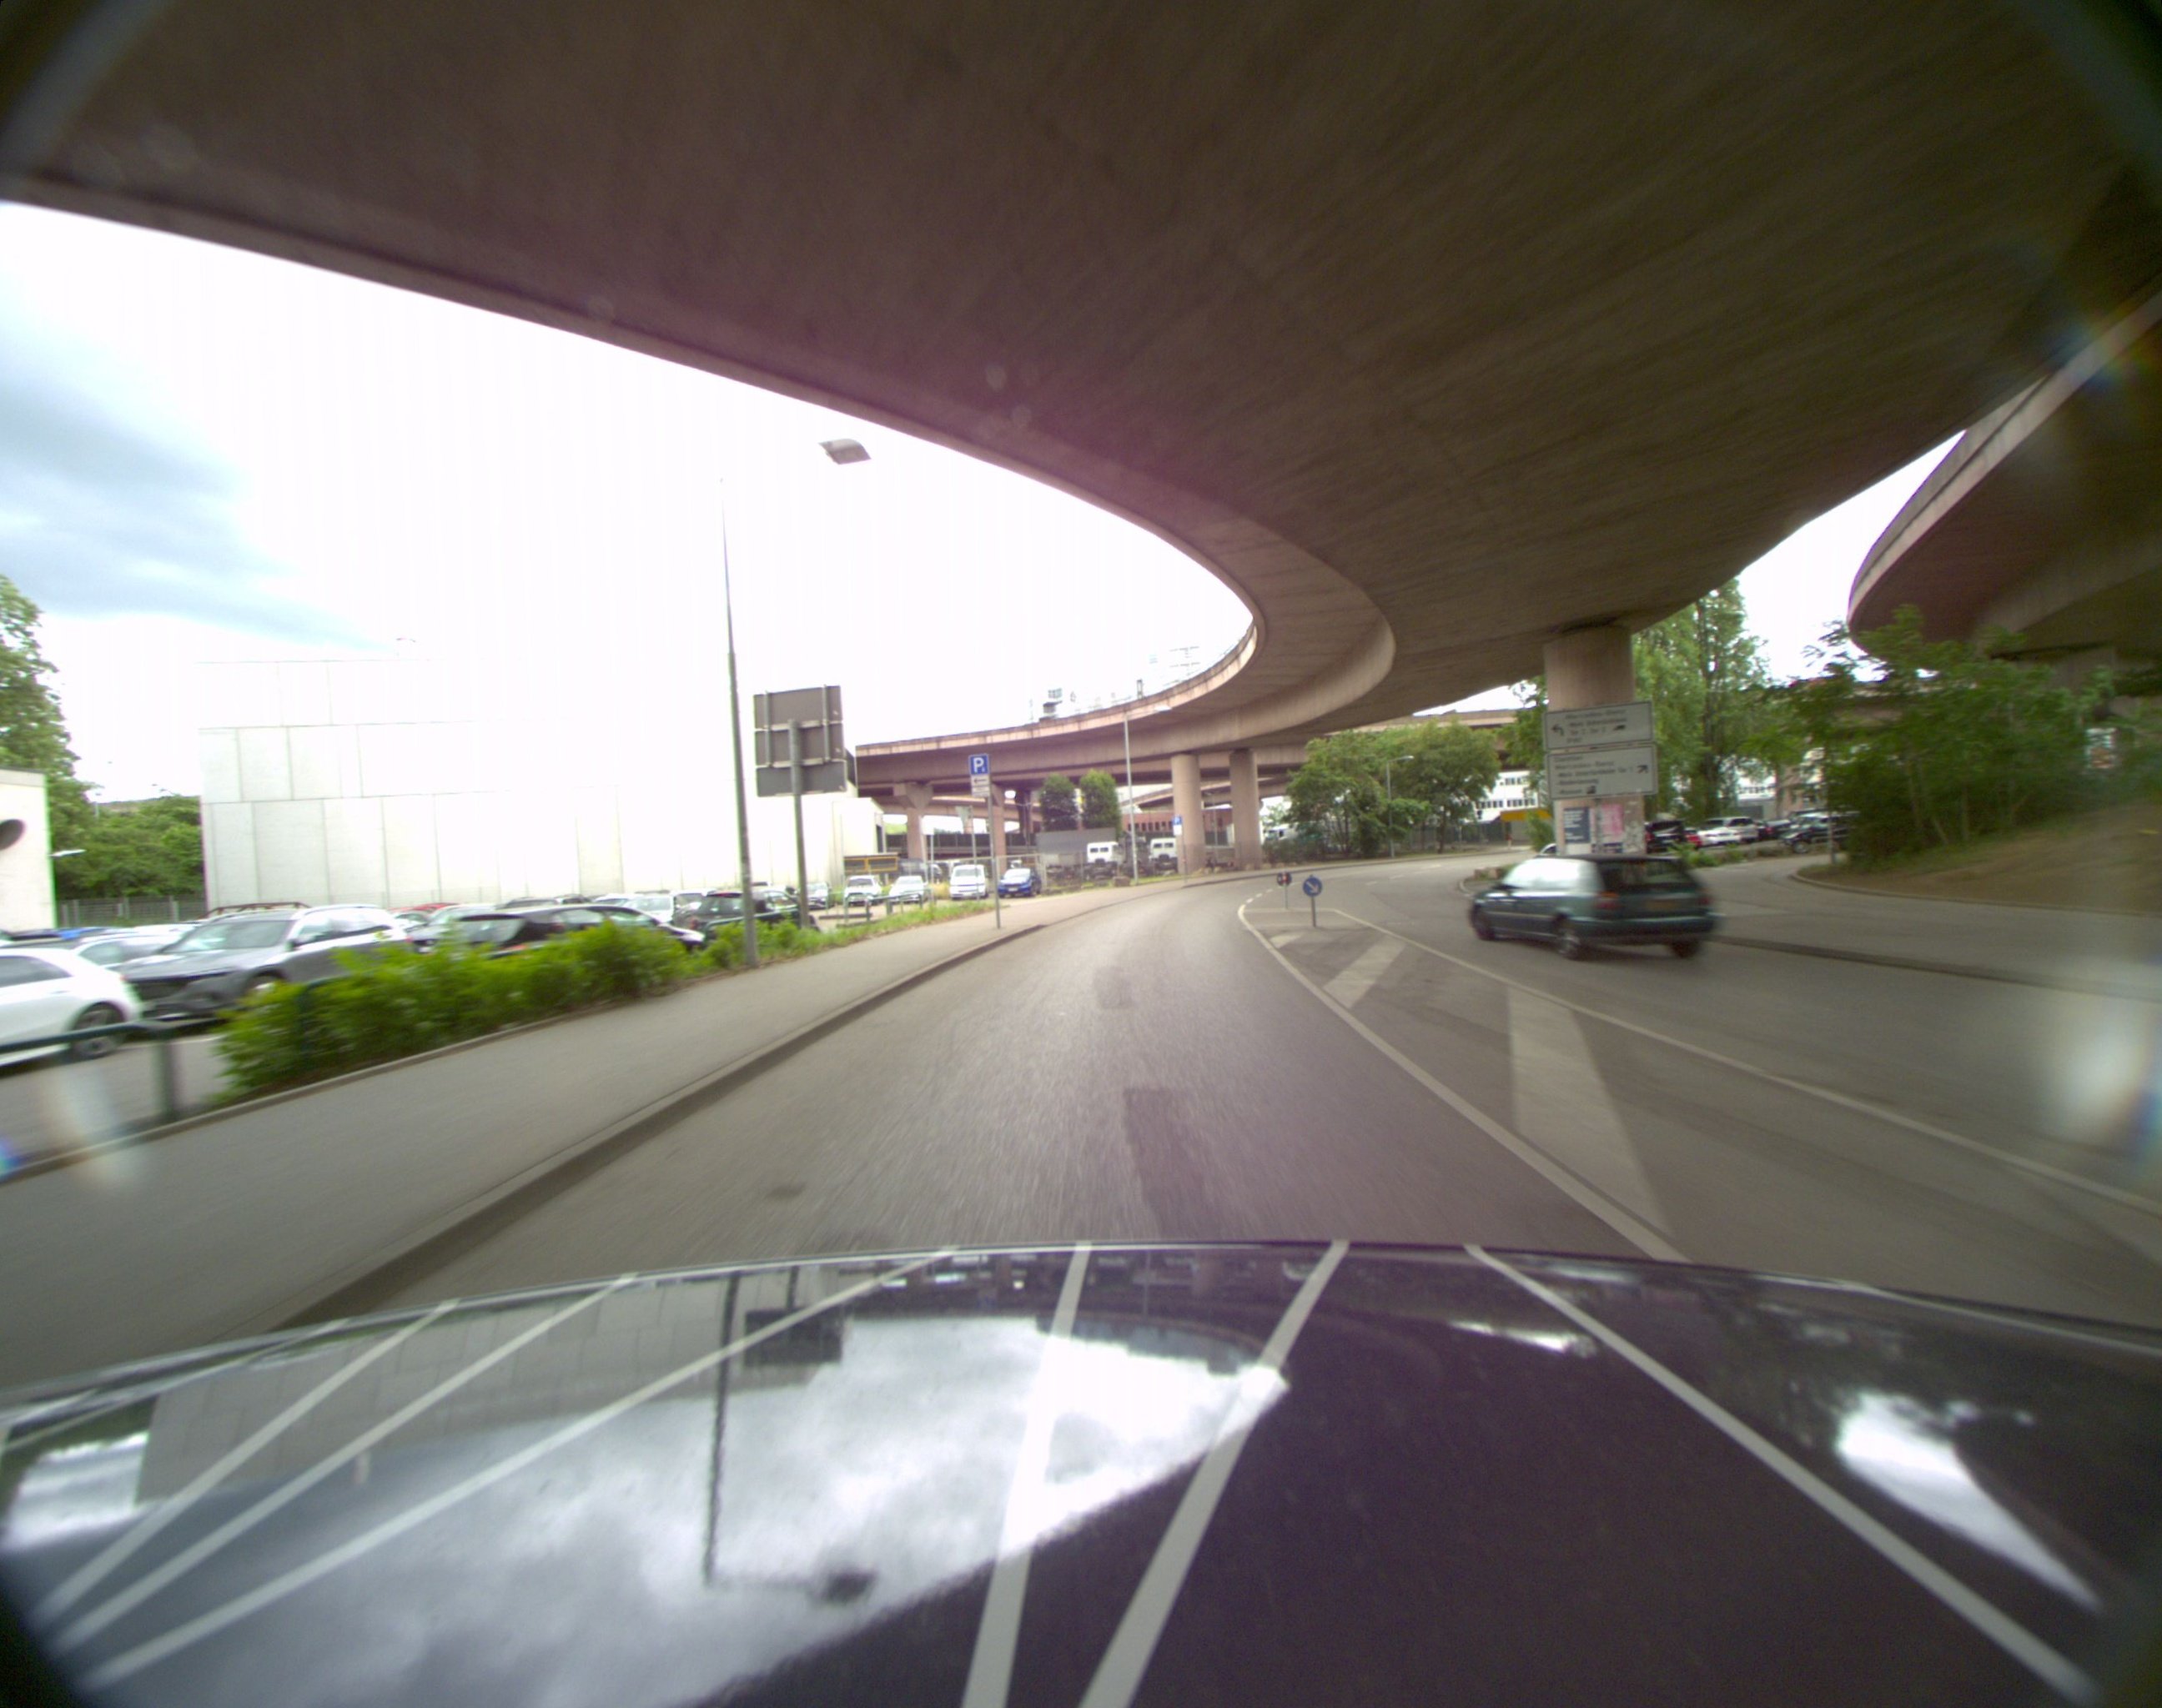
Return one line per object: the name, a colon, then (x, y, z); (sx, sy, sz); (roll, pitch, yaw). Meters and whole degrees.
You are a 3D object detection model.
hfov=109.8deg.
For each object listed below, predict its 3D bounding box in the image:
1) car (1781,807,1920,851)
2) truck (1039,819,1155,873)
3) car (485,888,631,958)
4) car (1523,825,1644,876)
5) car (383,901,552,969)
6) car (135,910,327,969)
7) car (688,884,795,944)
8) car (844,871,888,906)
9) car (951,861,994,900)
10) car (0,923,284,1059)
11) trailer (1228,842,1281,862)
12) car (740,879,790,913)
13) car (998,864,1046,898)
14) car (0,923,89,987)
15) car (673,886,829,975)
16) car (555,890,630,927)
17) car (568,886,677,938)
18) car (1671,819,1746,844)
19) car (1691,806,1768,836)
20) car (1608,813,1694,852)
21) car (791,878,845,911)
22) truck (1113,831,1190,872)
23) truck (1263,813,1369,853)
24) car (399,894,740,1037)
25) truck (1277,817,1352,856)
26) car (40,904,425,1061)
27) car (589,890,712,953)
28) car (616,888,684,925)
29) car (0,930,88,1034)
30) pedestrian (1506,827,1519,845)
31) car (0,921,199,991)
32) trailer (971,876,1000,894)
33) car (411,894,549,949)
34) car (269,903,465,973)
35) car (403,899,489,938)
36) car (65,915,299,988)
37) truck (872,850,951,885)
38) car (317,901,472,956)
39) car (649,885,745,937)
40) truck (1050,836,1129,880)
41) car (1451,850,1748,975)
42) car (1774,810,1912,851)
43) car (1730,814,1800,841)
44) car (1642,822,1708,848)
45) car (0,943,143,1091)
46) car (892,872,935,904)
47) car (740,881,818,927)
car: (34.558, -1.112, 34.244); (4.055, 1.697, 1.737); (-3, 1, 16)
truck: (1.433, -0.722, 71.341); (10.136, 4.340, 3.911); (-3, 0, -10)
car: (-15.401, 1.959, 22.718); (1.859, 1.618, 4.616); (-3, 0, -12)
car: (17.689, -0.152, 26.680); (4.781, 1.422, 1.824); (-4, -2, -35)
car: (-17.624, 2.249, 22.168); (1.859, 1.435, 4.616); (-3, 0, -12)
car: (-28.161, 2.772, 25.445); (1.839, 1.417, 4.438); (-3, 0, -10)
car: (-10.526, 1.787, 23.932); (1.858, 1.466, 4.683); (-3, 0, -10)
car: (-11.392, 1.799, 40.556); (1.776, 1.578, 4.357); (-3, 0, -10)
car: (-6.074, 1.439, 43.087); (1.893, 1.945, 4.678); (-3, 0, -3)
car: (-15.454, 2.041, 11.945); (1.757, 1.440, 4.454); (-3, 0, -12)
trailer: (13.919, -0.167, 60.991); (4.389, 1.324, 1.601); (-4, 2, -36)
car: (-16.257, 2.126, 39.213); (1.623, 1.535, 3.095); (-3, 0, -9)
car: (-3.272, 1.477, 43.127); (1.773, 1.625, 4.687); (-3, 0, 7)
car: (-29.116, 2.768, 19.774); (1.769, 1.524, 3.972); (-3, 0, -12)
car: (-6.653, 1.495, 15.597); (1.542, 1.471, 2.763); (-3, 0, 11)
car: (-23.773, 2.625, 37.157); (1.776, 1.448, 4.355); (-3, 0, -15)
car: (-16.801, 2.065, 28.138); (1.839, 1.504, 4.497); (-3, 0, -10)
car: (37.158, -1.336, 45.143); (1.693, 1.356, 4.520); (-3, 1, 15)
car: (40.691, -2.037, 47.823); (1.693, 1.664, 4.681); (-3, 1, 13)
car: (30.903, -1.169, 41.384); (1.854, 1.906, 4.977); (-3, 1, 13)
car: (-13.394, 2.027, 38.945); (1.775, 1.375, 4.358); (-3, 0, -9)
truck: (5.394, -0.221, 56.733); (2.418, 2.728, 7.249); (-3, 0, 33)
truck: (23.868, -2.166, 77.267); (10.215, 3.478, 2.268); (-3, 2, -9)
car: (-7.379, 1.520, 11.603); (1.733, 1.470, 4.253); (-3, 0, 11)
truck: (22.698, -1.714, 73.982); (6.411, 3.389, 2.269); (-3, 2, -6)
car: (-12.965, 1.817, 12.151); (1.746, 1.665, 4.465); (-3, 0, -12)
car: (-12.990, 1.972, 23.288); (1.859, 1.466, 4.682); (-3, 0, -12)
car: (-21.054, 2.538, 37.283); (1.776, 1.448, 4.355); (-3, 0, -15)
car: (-17.834, 2.121, 11.093); (1.757, 1.548, 4.083); (-3, 0, -12)
pedestrian: (41.599, -1.700, 73.299); (0.856, 1.671, 0.752); (-4, 2, -32)
car: (-27.167, 2.740, 20.838); (1.769, 1.384, 3.972); (-3, 0, -12)
trailer: (-6.175, 1.980, 48.978); (1.484, 0.894, 2.557); (-3, 1, -14)
car: (-21.162, 2.315, 27.028); (1.839, 1.504, 4.497); (-3, 0, -10)
car: (-19.999, 2.275, 21.622); (1.859, 1.435, 4.616); (-3, 0, -12)
car: (-30.046, 3.016, 36.095); (1.498, 1.451, 4.060); (-3, 0, -15)
car: (-24.673, 2.609, 21.158); (1.785, 1.384, 4.432); (-3, 0, -12)
truck: (-16.128, 1.311, 72.794); (6.928, 2.915, 3.049); (-3, 0, -7)
car: (-23.654, 2.504, 26.439); (1.839, 1.417, 4.438); (-3, 0, -10)
car: (-14.064, 2.027, 28.107); (1.839, 1.504, 4.497); (-3, 0, -10)
truck: (0.695, 0.250, 56.635); (2.452, 2.869, 6.130); (-3, 0, 39)
car: (7.263, 0.703, 11.221); (1.680, 1.422, 4.000); (-3, 0, 1)
car: (32.643, -0.994, 32.662); (3.860, 1.456, 1.540); (-3, 1, 23)
car: (42.929, -1.688, 47.770); (1.693, 1.527, 3.631); (-3, 1, 13)
car: (34.002, -1.097, 43.599); (1.562, 1.372, 3.708); (-3, 1, 13)
car: (-12.260, 1.846, 7.282); (1.839, 1.413, 4.188); (-3, 0, -12)
car: (-9.036, 1.809, 41.216); (1.775, 1.448, 4.552); (-3, 0, -7)
car: (-11.544, 1.875, 29.336); (1.839, 1.417, 4.438); (-3, 0, -10)
